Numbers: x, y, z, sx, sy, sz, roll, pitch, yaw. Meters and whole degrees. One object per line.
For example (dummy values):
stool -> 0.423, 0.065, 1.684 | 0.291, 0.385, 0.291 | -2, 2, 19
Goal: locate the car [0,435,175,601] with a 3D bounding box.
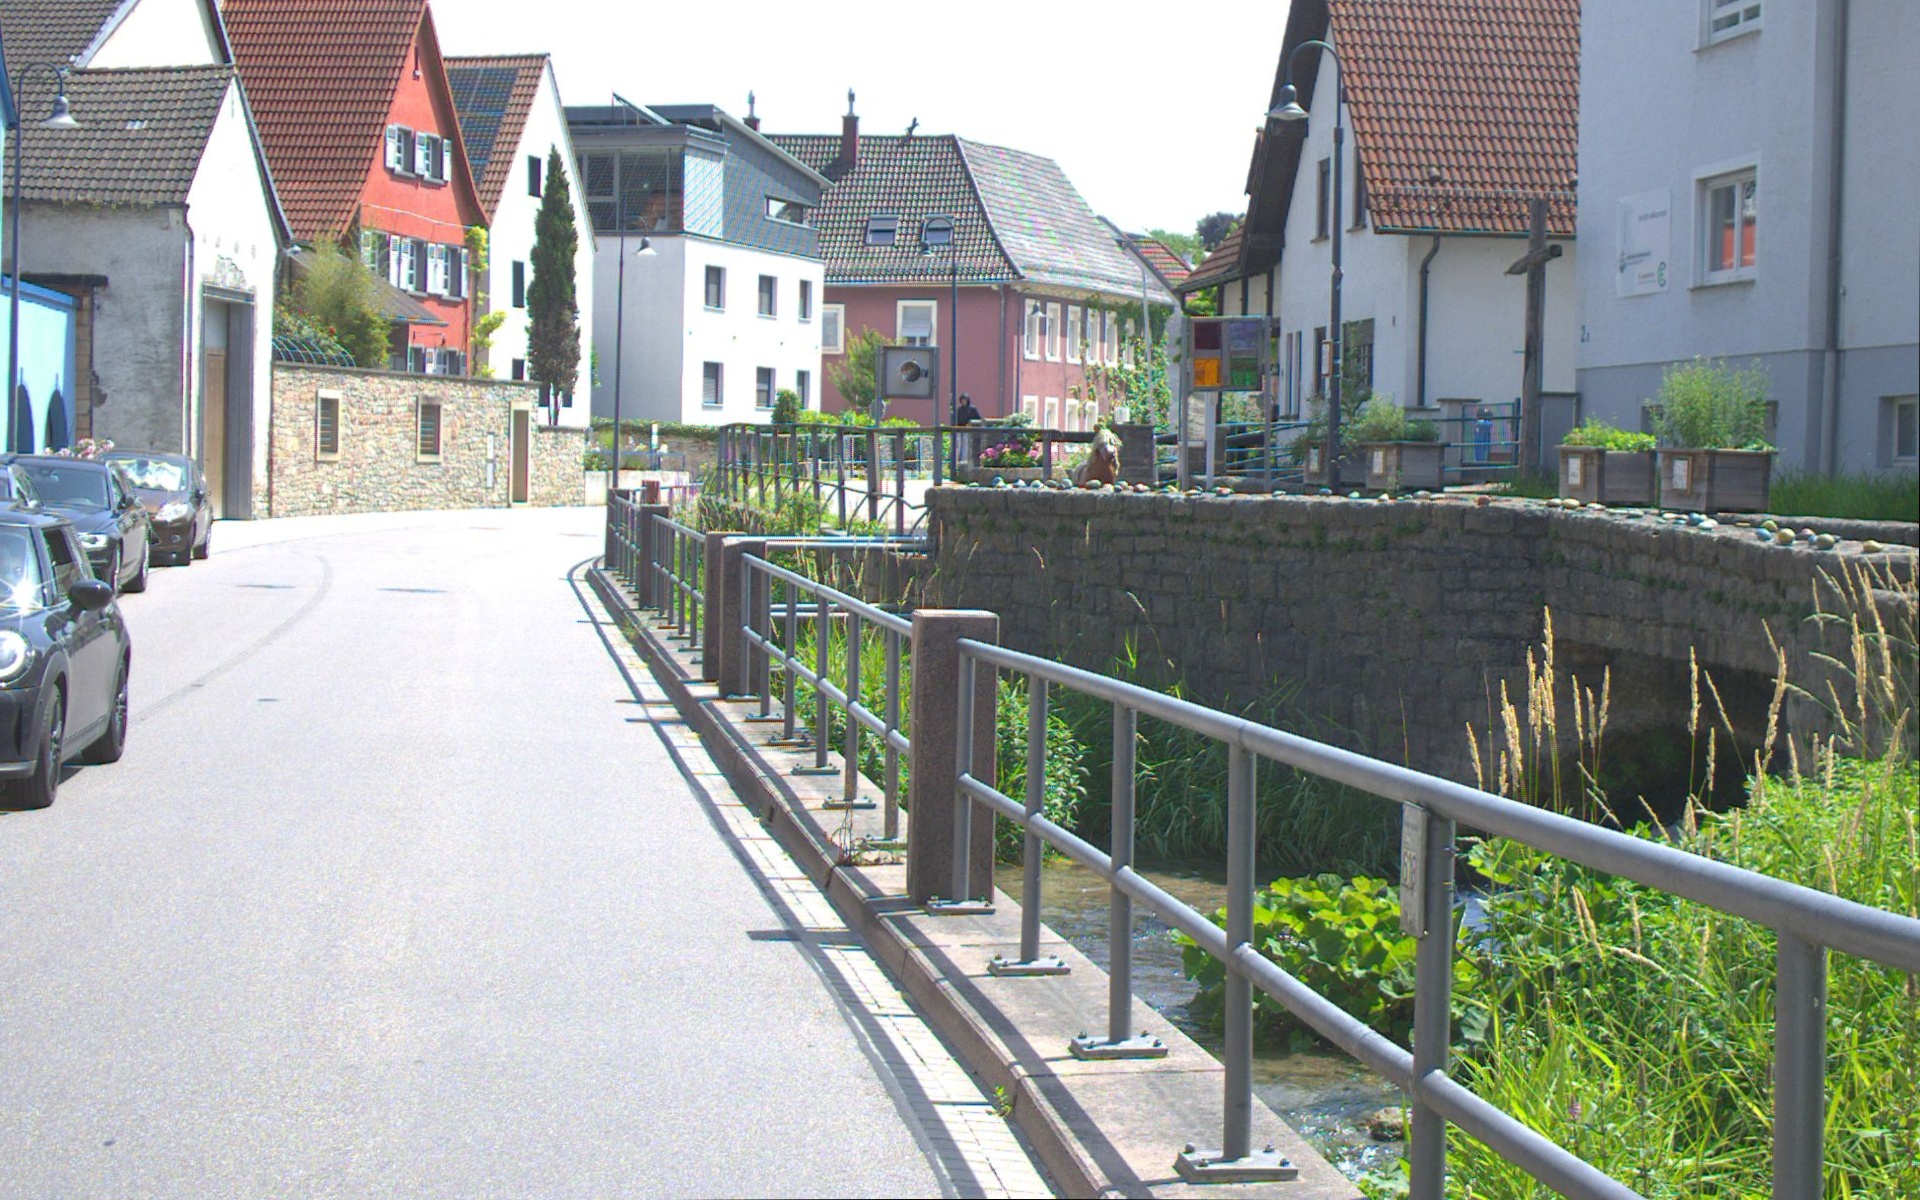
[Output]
car -> -9.625, -0.923, 36.577 | 1.884, 1.459, 4.670 | 4, 3, -7

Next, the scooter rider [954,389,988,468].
scooter rider -> 0.242, -3.806, 76.212 | 0.641, 1.725, 0.554 | 2, 2, -7

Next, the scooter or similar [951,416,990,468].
scooter or similar -> 0.228, -3.492, 76.163 | 0.641, 1.138, 1.812 | 0, 2, -7

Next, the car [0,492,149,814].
car -> -5.299, 0.162, 17.920 | 1.698, 1.460, 4.437 | 2, 1, -9

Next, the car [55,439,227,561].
car -> -11.122, -1.399, 46.904 | 1.717, 1.524, 3.858 | 0, 3, -5

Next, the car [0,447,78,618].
car -> -9.356, -0.680, 31.594 | 1.956, 1.460, 4.547 | 2, 2, -9
